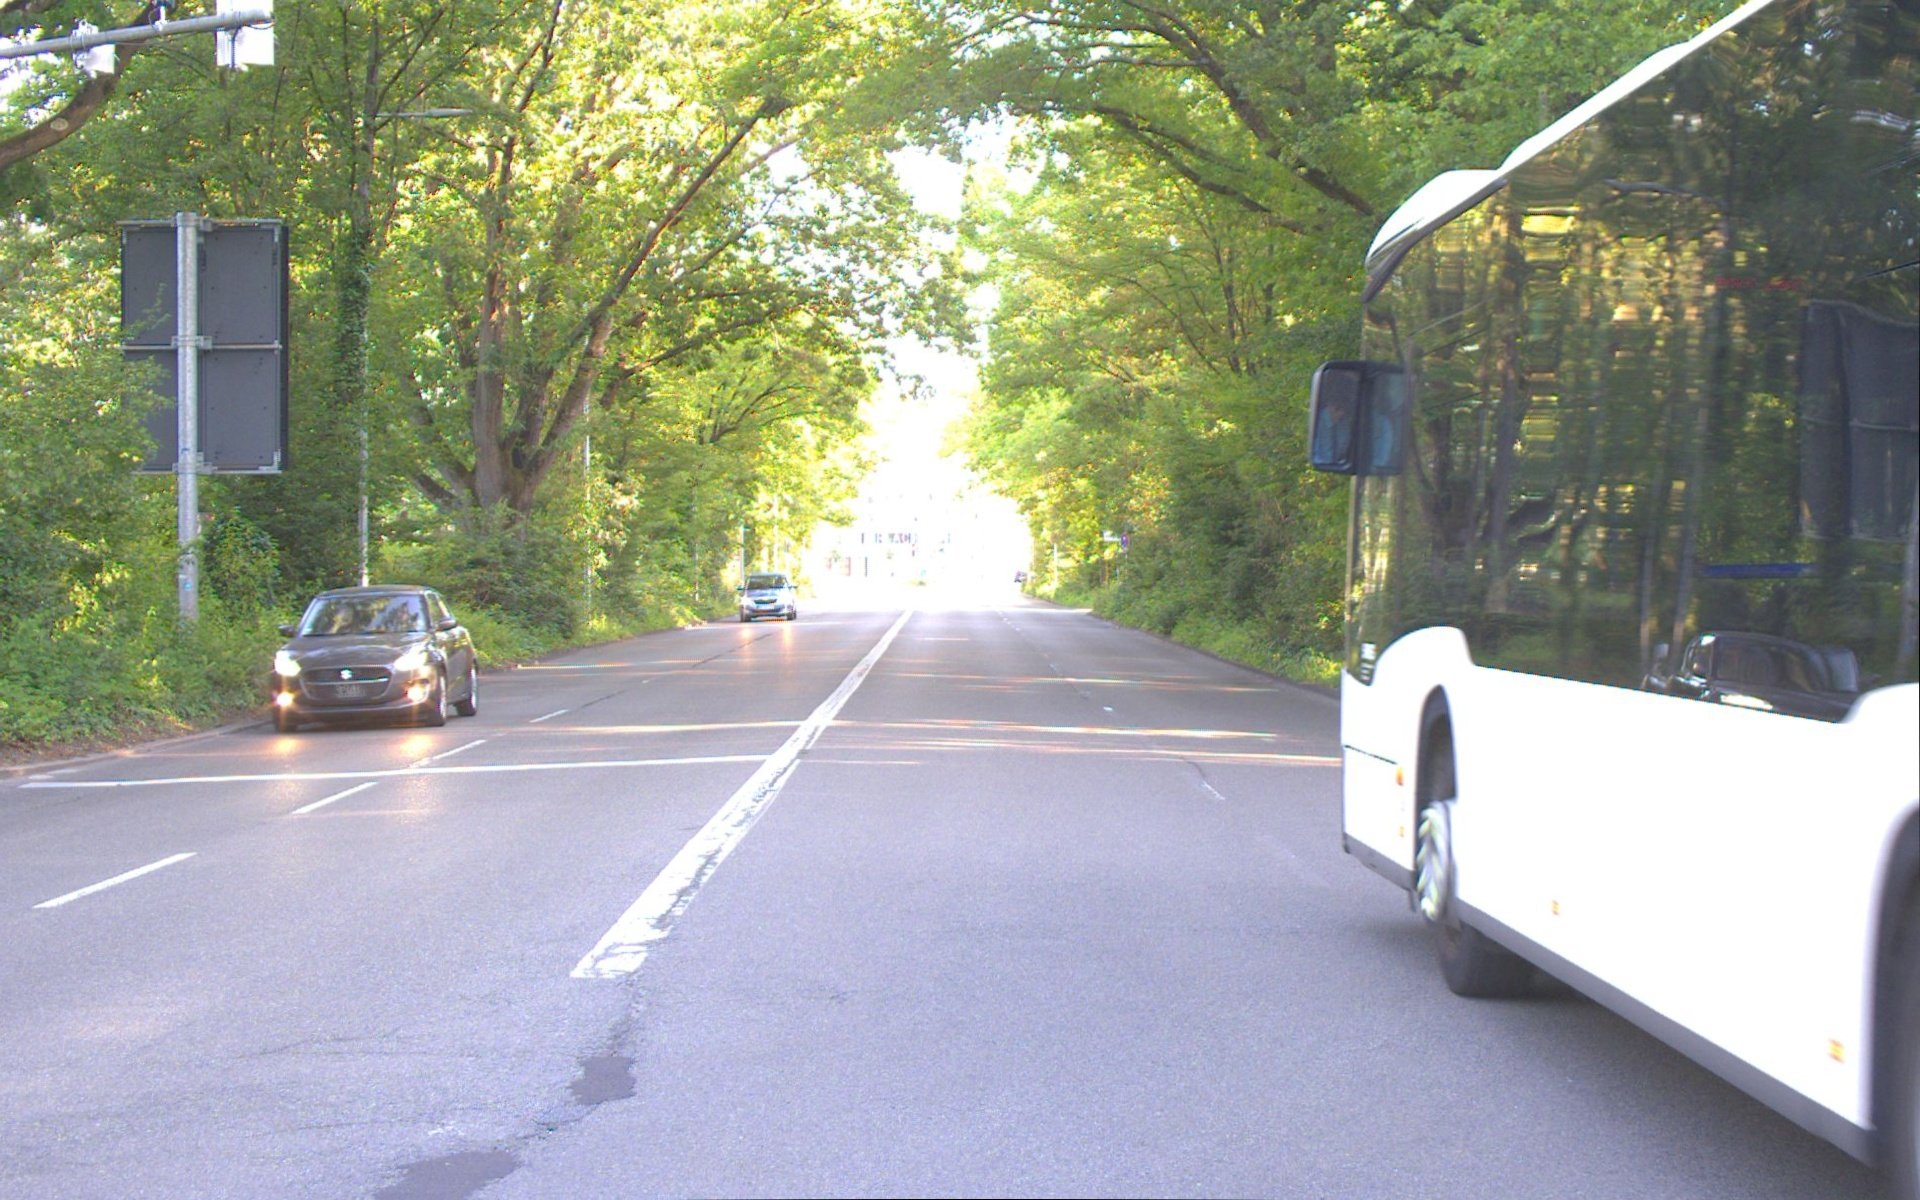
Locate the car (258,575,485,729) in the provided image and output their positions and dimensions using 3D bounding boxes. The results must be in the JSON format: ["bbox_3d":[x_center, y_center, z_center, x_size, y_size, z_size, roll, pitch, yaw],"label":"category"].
[{"bbox_3d":[-6.078,0.503,35.883,1.707,1.448,3.640,-2,1,0],"label":"car"}]

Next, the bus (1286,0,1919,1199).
[{"bbox_3d":[3.113,-0.160,8.778,3.012,3.077,12.271,2,1,-1],"label":"bus"}]

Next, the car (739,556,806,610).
[{"bbox_3d":[-5.757,-0.535,106.013,1.806,1.574,4.319,-2,1,0],"label":"car"}]
